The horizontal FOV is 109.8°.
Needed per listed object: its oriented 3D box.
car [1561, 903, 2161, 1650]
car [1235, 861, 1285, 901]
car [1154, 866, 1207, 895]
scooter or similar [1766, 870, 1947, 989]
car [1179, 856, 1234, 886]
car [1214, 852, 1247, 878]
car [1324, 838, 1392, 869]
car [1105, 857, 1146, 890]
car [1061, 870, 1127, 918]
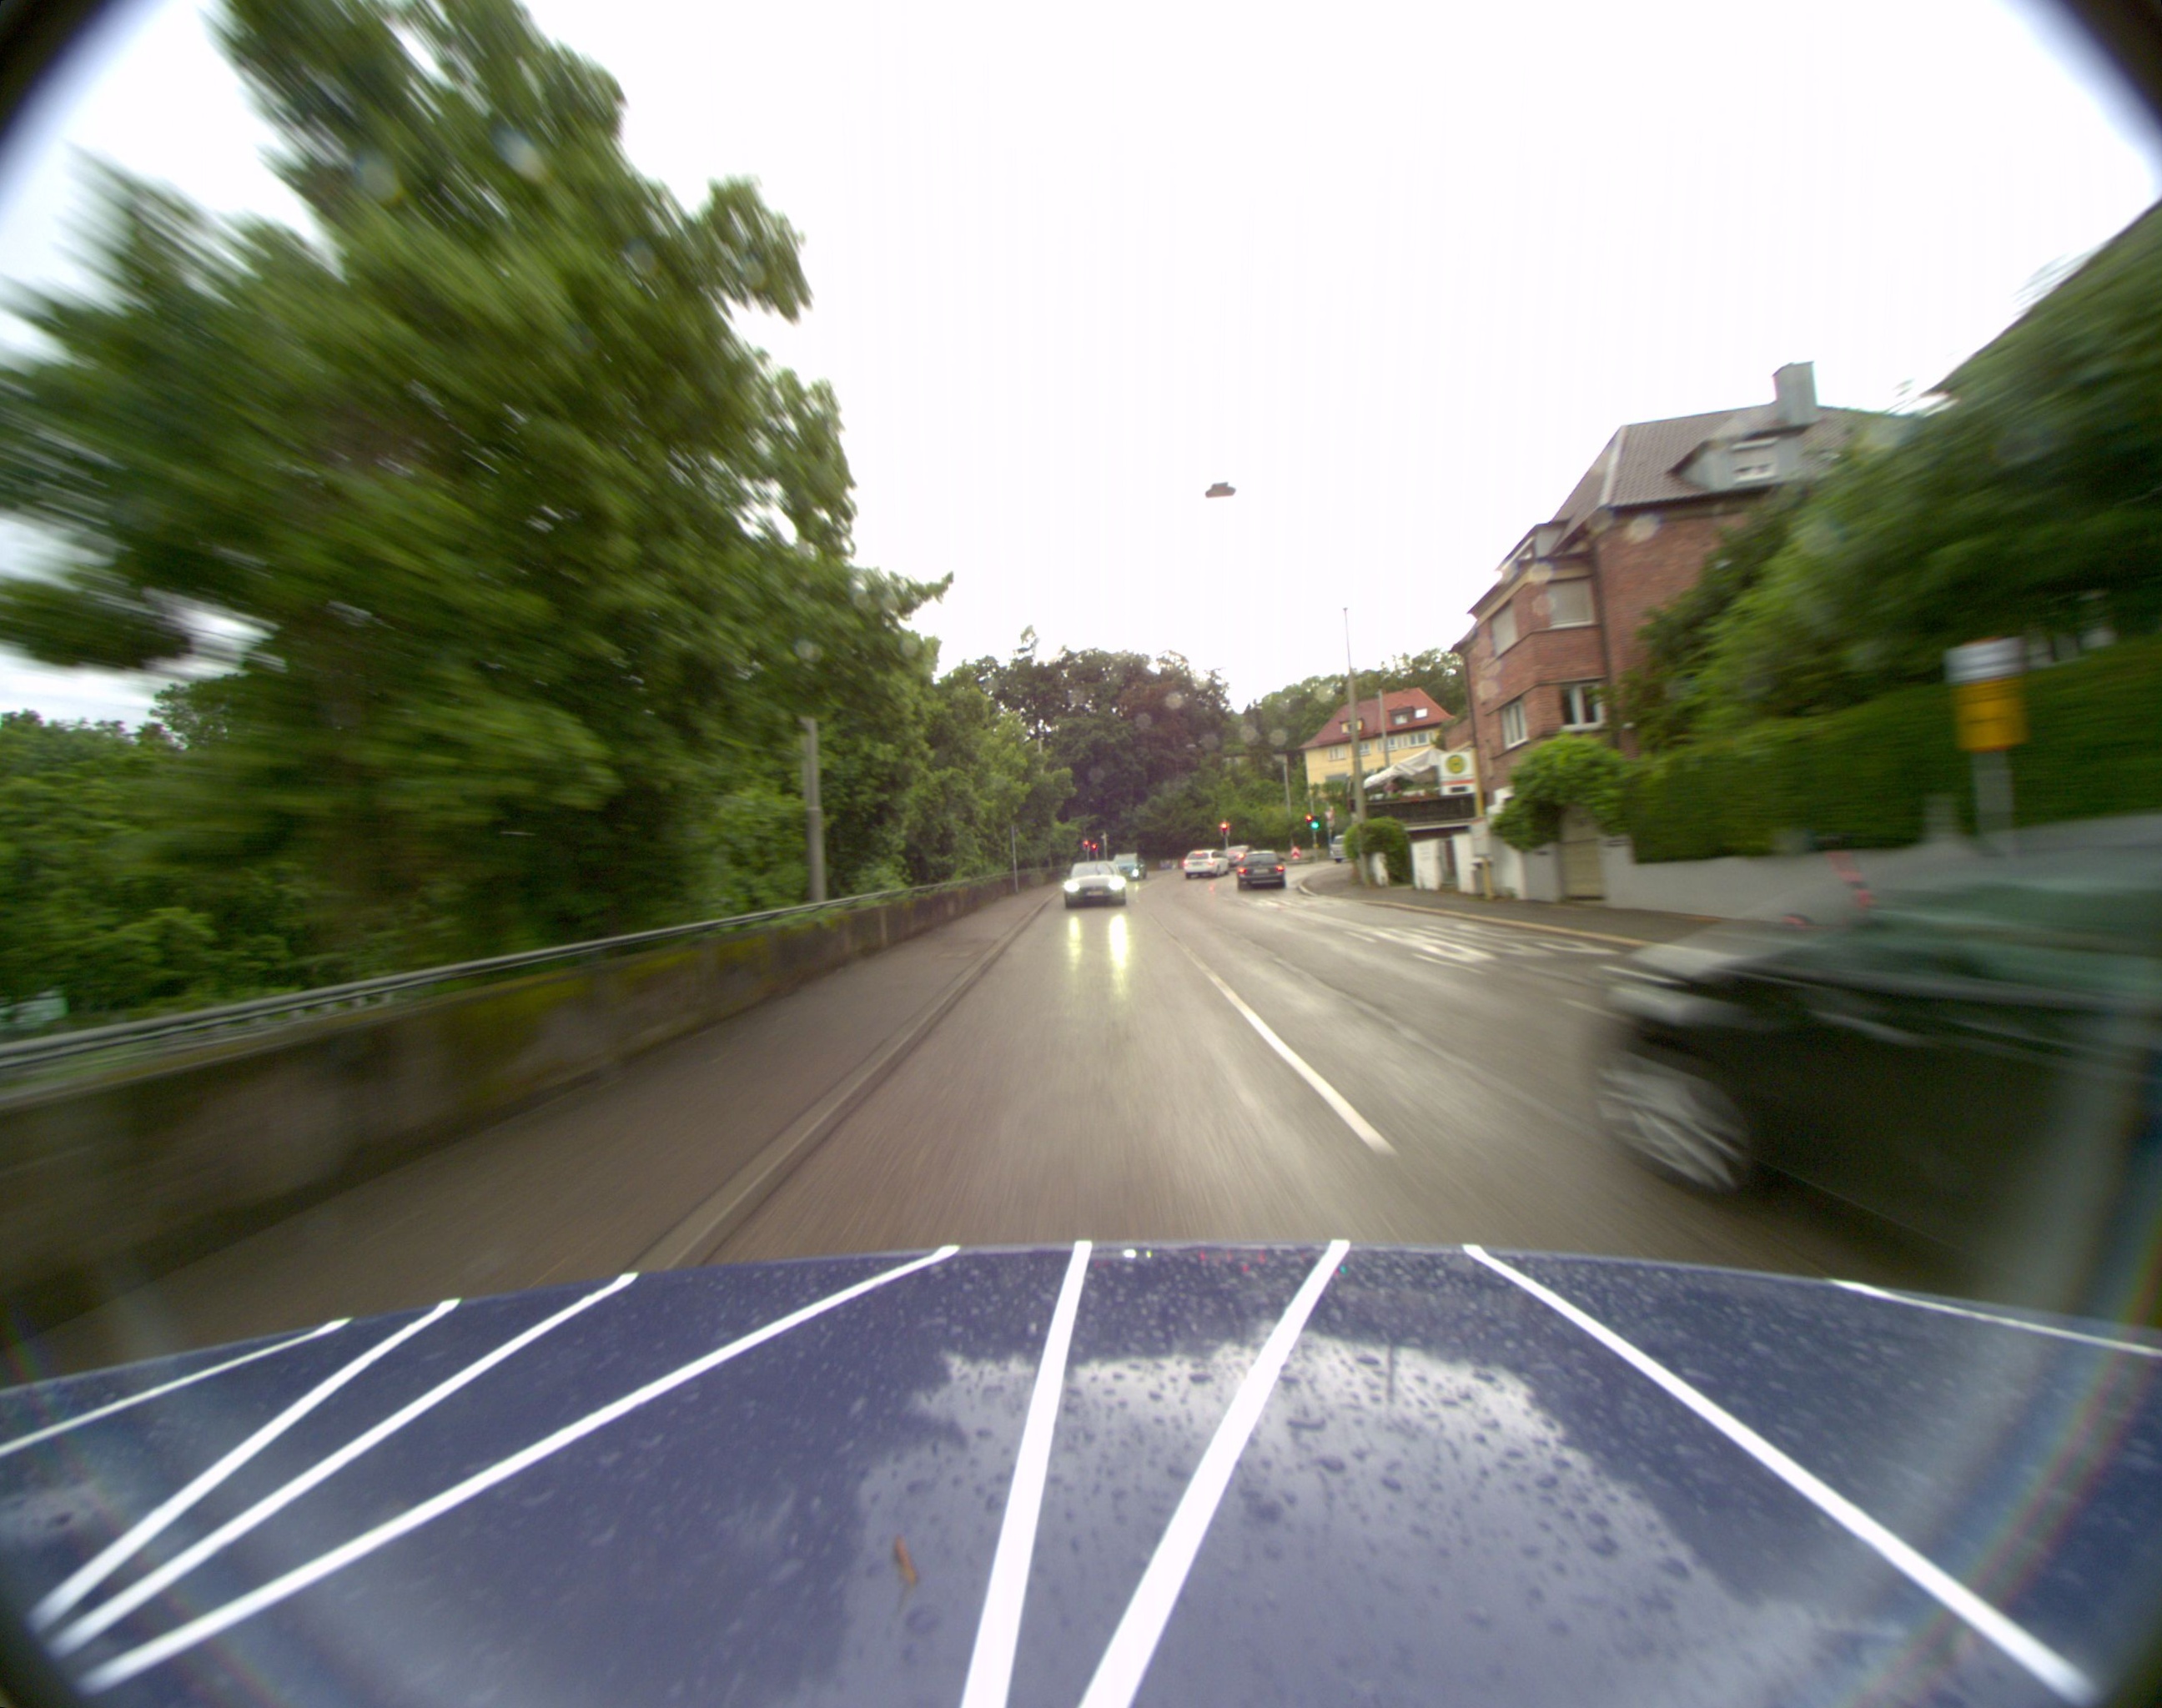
[{"bbox_3d":[3.263,0.984,1.743,1.772,1.511,3.976,-2,-1,1],"label":"car"},{"bbox_3d":[7.135,1.029,30.564,1.740,1.442,4.619,-2,0,11],"label":"car"},{"bbox_3d":[7.883,2.138,60.108,1.996,1.999,4.010,-11,-11,44],"label":"car"},{"bbox_3d":[8.538,0.784,8.451,0.523,1.196,1.436,-2,-1,1],"label":"scooter or similar"},{"bbox_3d":[6.940,0.888,41.635,1.849,1.465,4.448,-2,0,24],"label":"car"},{"bbox_3d":[9.485,0.638,48.045,1.862,1.387,4.600,-4,0,12],"label":"car"},{"bbox_3d":[17.011,-0.032,46.598,4.467,1.576,1.712,-4,0,-38],"label":"car"},{"bbox_3d":[2.622,1.188,44.249,1.799,1.599,4.047,-5,-5,9],"label":"car"},{"bbox_3d":[0.364,1.310,26.222,1.836,1.384,4.322,-3,0,-4],"label":"car"}]
